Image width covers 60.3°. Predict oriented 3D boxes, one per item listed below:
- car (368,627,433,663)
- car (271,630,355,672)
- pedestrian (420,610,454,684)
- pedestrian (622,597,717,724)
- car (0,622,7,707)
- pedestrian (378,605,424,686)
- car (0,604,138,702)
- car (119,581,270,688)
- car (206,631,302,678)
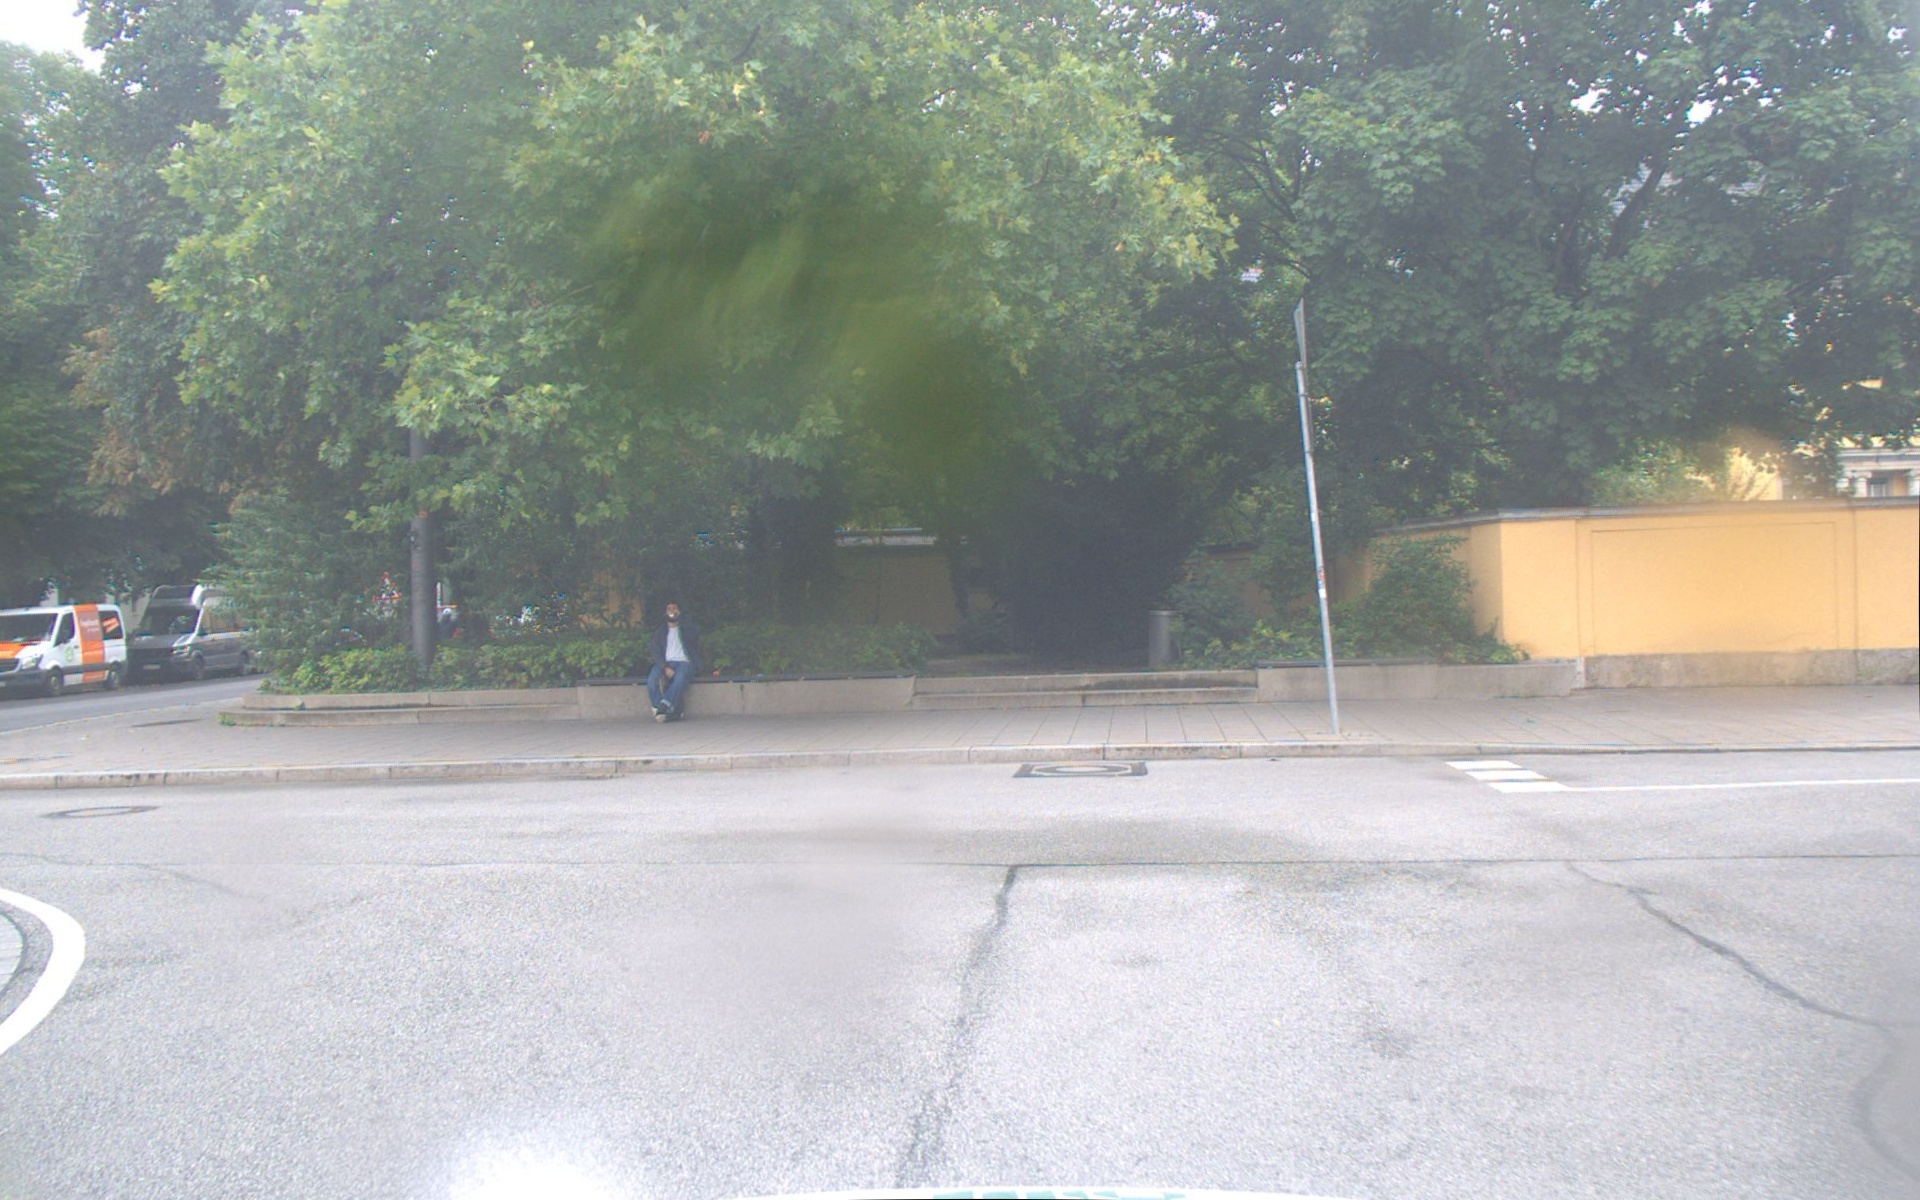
[{"bbox_3d":[-25.763,2.050,76.241,1.955,1.513,4.123,-2,0,-6],"label":"car"},{"bbox_3d":[-24.492,1.913,62.751,1.955,1.445,4.123,-2,0,-6],"label":"car"},{"bbox_3d":[-12.309,1.108,38.952,0.625,1.696,0.691,-2,0,-26],"label":"pedestrian"},{"bbox_3d":[-3.305,0.672,18.901,0.753,1.380,1.132,-2,0,5],"label":"pedestrian"},{"bbox_3d":[-22.953,1.532,35.536,1.987,1.941,5.661,-3,0,-5],"label":"car"},{"bbox_3d":[-13.311,1.076,39.349,0.811,1.868,0.942,-2,0,-31],"label":"pedestrian"},{"bbox_3d":[-23.465,1.338,42.480,2.042,2.304,5.599,-4,0,-3],"label":"car"},{"bbox_3d":[-23.672,1.020,51.463,2.130,3.055,6.227,-2,0,-4],"label":"car"},{"bbox_3d":[-24.358,1.861,57.200,1.955,1.445,3.994,-2,0,-6],"label":"car"}]
